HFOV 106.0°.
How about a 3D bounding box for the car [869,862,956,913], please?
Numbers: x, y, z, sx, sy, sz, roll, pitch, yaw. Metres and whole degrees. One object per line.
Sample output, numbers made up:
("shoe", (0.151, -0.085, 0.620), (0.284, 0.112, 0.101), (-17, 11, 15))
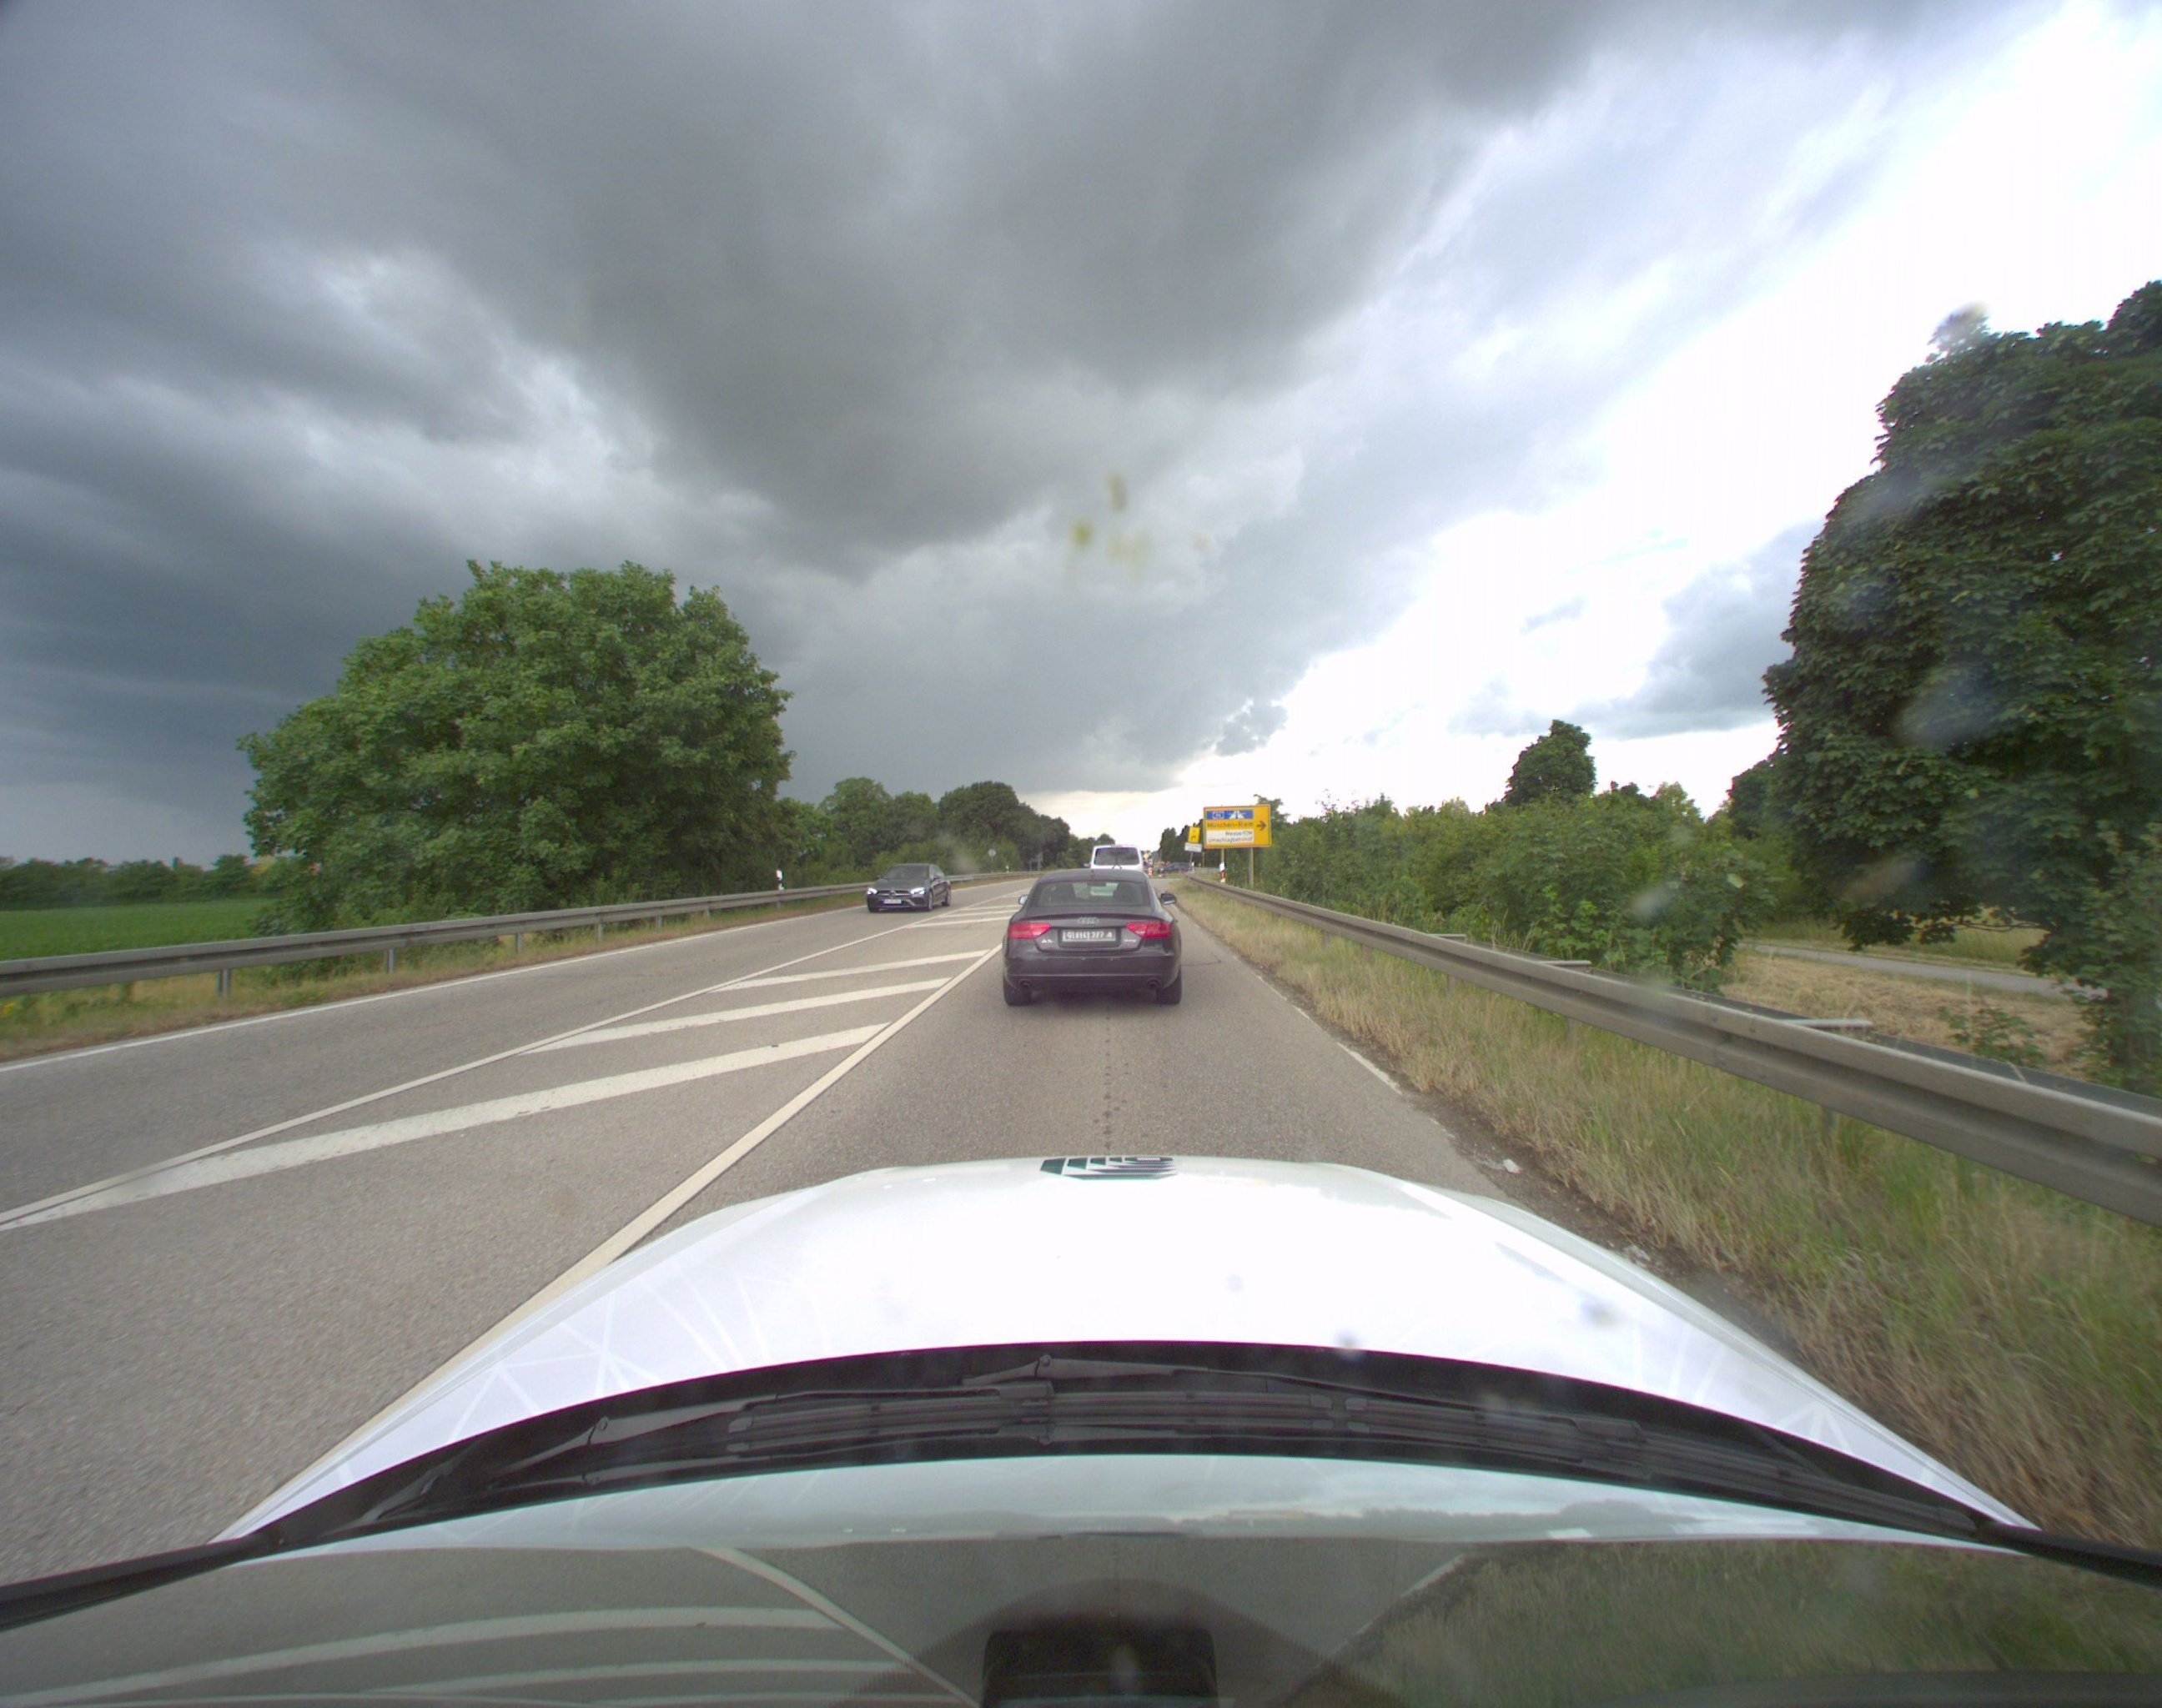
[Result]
("car", (-5.169, 0.988, 25.580), (1.616, 1.379, 4.514), (-1, 0, 2))

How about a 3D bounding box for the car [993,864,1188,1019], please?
("car", (0.136, 0.827, 9.152), (1.773, 1.399, 3.337), (-1, -1, 2))

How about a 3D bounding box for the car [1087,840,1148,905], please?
("car", (1.208, 0.579, 27.399), (1.903, 2.014, 4.002), (0, 0, 2))
